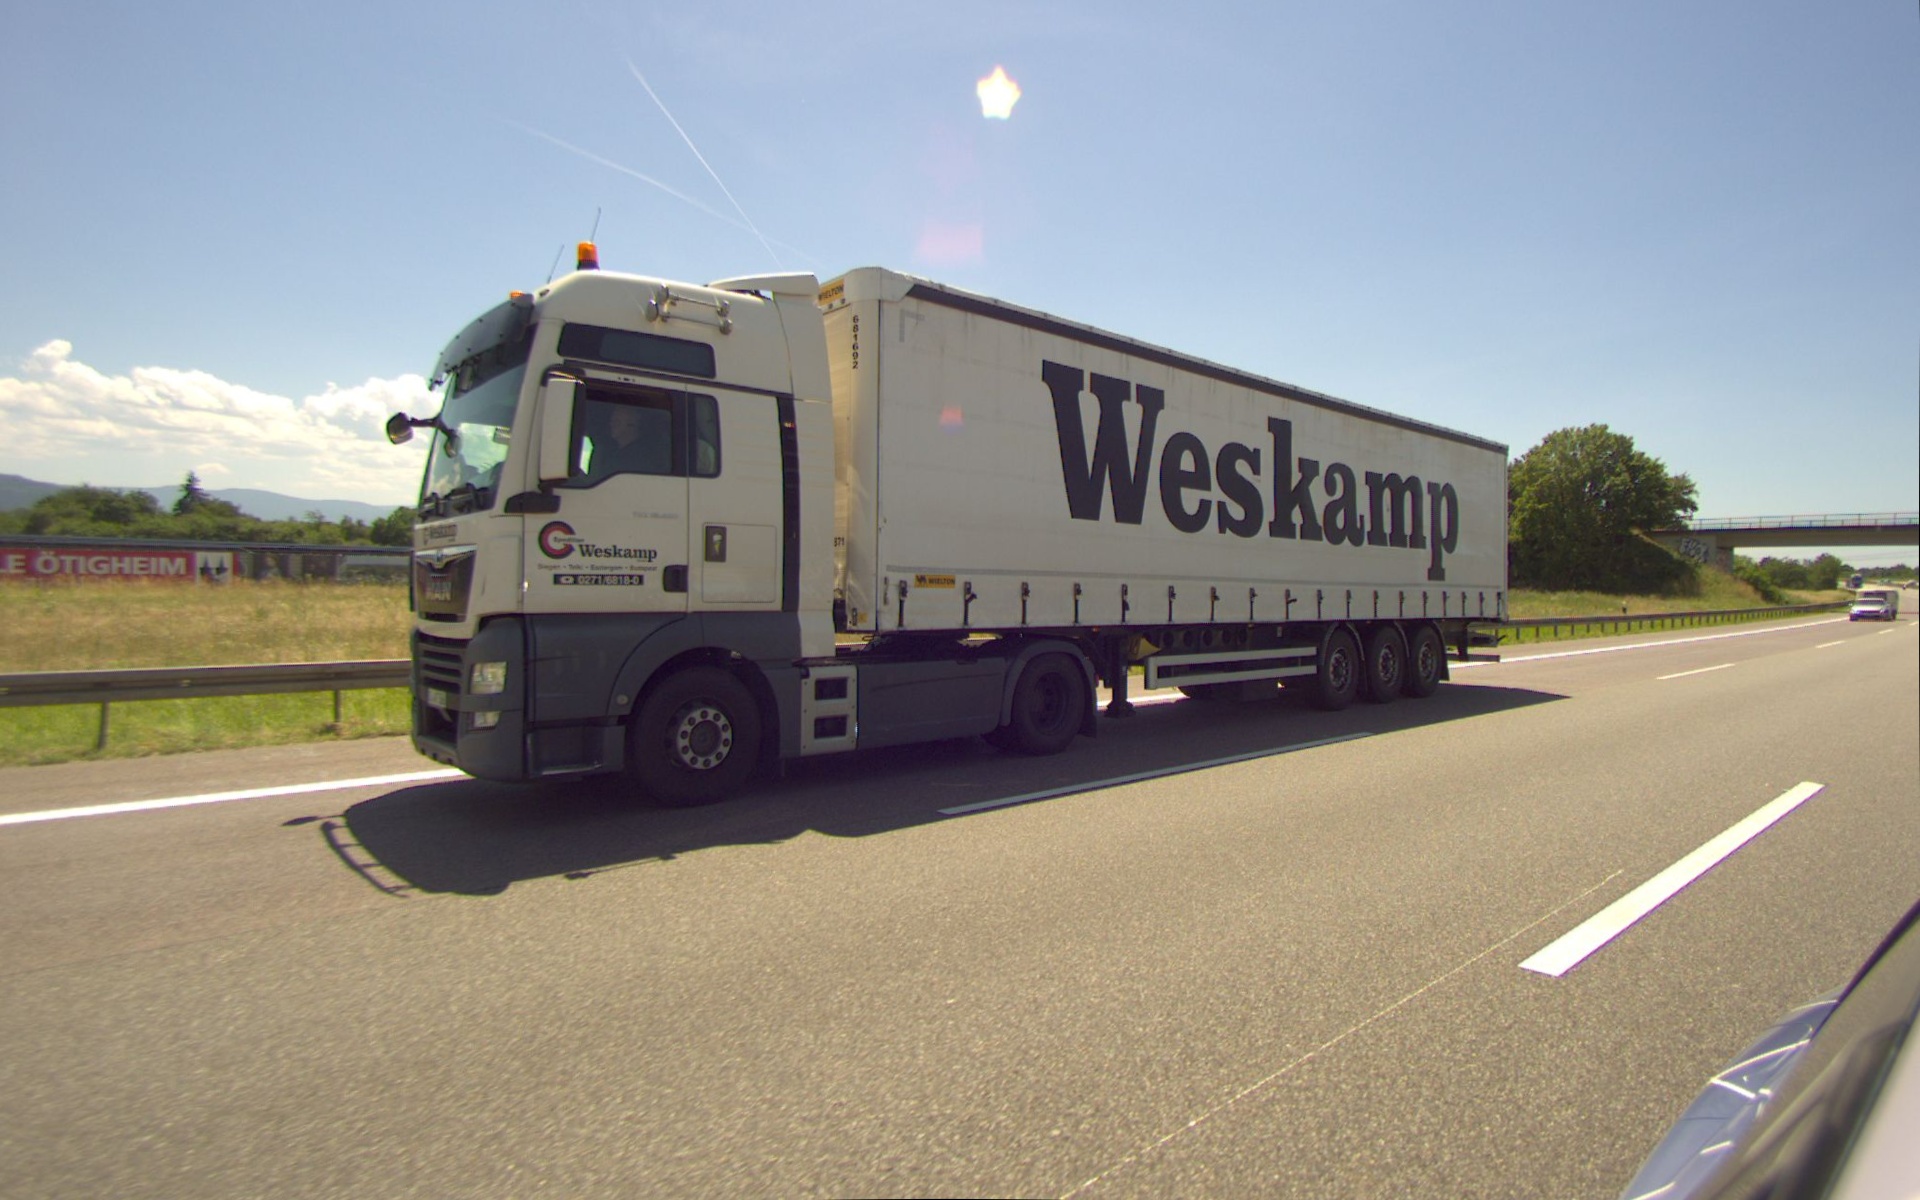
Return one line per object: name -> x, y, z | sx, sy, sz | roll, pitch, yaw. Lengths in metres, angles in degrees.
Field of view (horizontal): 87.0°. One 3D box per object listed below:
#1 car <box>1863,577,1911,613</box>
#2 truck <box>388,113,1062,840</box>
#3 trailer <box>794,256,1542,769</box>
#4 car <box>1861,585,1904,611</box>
car -> 61.434, -0.357, 67.041 | 2.183, 2.294, 4.873 | 2, 2, 44
truck -> -1.793, -0.758, 8.638 | 5.000, 4.310, 2.605 | 0, 0, -41
trailer -> 4.156, -0.858, 13.939 | 13.406, 4.305, 2.599 | -1, 1, -42
car -> 56.840, -0.131, 62.332 | 1.780, 1.494, 3.936 | 2, 2, 44
